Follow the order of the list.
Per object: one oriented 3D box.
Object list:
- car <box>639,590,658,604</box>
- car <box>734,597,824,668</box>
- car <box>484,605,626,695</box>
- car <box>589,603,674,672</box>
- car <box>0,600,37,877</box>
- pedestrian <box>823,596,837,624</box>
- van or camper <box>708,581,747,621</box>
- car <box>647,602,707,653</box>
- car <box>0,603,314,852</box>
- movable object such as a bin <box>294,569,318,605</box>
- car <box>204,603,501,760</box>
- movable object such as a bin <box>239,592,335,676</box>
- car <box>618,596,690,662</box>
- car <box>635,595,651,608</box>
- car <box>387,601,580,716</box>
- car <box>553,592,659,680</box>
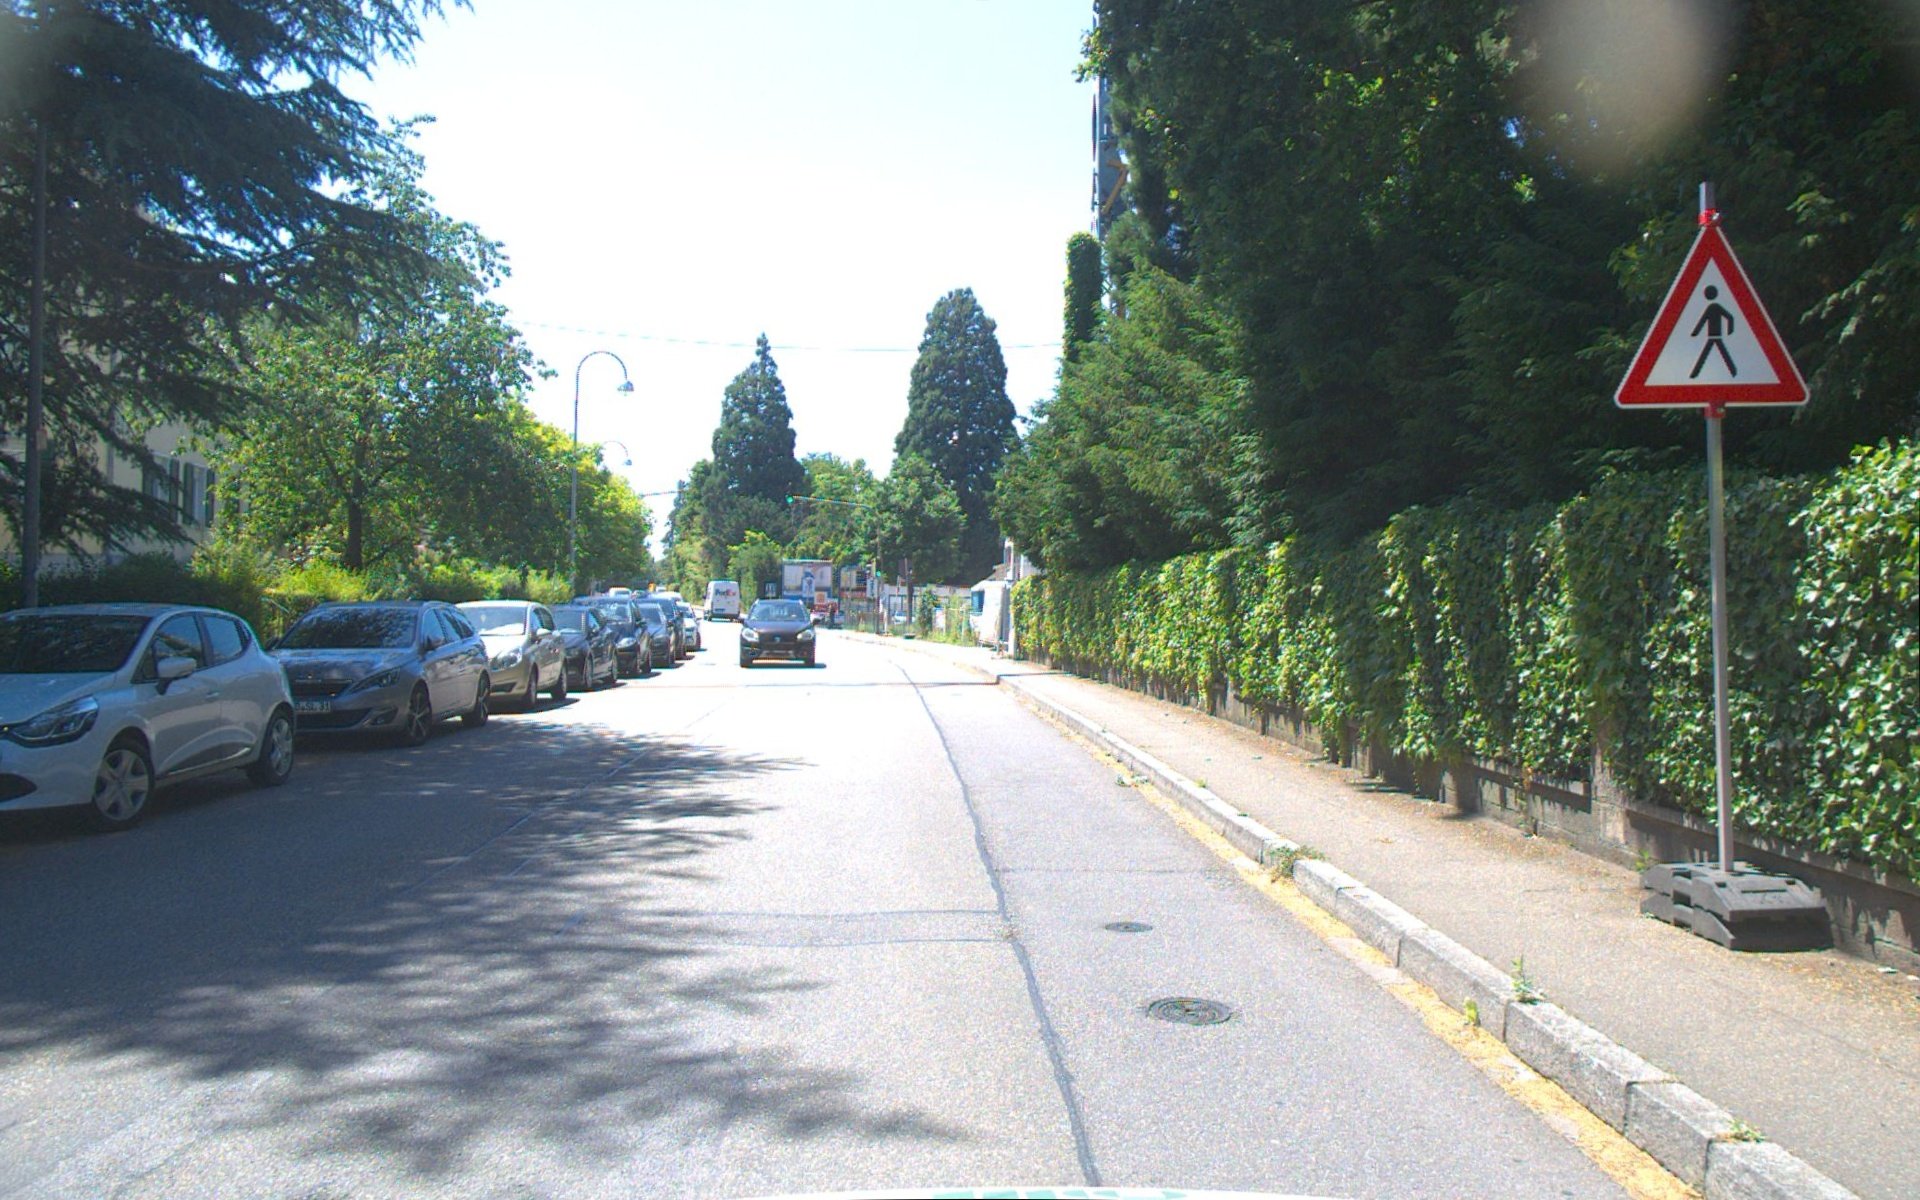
[{"bbox_3d":[-37.058,-0.339,196.604,1.960,1.691,3.985,1,0,-15],"label":"car"},{"bbox_3d":[-4.243,0.743,39.275,1.861,1.602,4.138,0,0,-3],"label":"car"},{"bbox_3d":[-6.946,0.814,28.695,1.647,1.425,3.788,-1,0,-2],"label":"car"},{"bbox_3d":[-7.658,0.830,38.866,1.649,1.501,4.323,-1,0,-8],"label":"car"},{"bbox_3d":[-5.920,0.742,6.857,1.760,1.467,4.475,-1,0,-2],"label":"car"},{"bbox_3d":[-7.510,0.572,95.801,0.683,1.628,0.571,2,-1,-14],"label":"pedestrian"},{"bbox_3d":[-15.144,0.074,107.610,2.222,2.572,4.745,0,0,-12],"label":"van or camper"},{"bbox_3d":[-8.678,0.821,51.004,1.649,1.466,4.240,-1,0,-8],"label":"car"},{"bbox_3d":[-6.195,0.768,11.734,1.760,1.467,3.895,-1,0,-2],"label":"car"},{"bbox_3d":[-22.637,-0.439,57.228,0.609,1.217,0.672,1,-1,-10],"label":"movable object such as a bin"},{"bbox_3d":[-6.354,0.775,17.843,1.760,1.467,4.270,-1,0,-2],"label":"car"},{"bbox_3d":[-10.058,0.489,24.755,1.274,1.220,0.968,0,0,-19],"label":"movable object such as a bin"},{"bbox_3d":[-8.120,0.743,44.151,1.649,1.666,4.323,-1,0,-8],"label":"car"},{"bbox_3d":[-43.309,0.199,226.023,1.960,1.691,3.985,1,0,-15],"label":"car"},{"bbox_3d":[-6.634,0.767,23.429,1.760,1.467,3.783,-1,0,-2],"label":"car"},{"bbox_3d":[-7.151,0.696,33.694,1.648,1.668,3.786,-1,0,-5],"label":"car"}]
